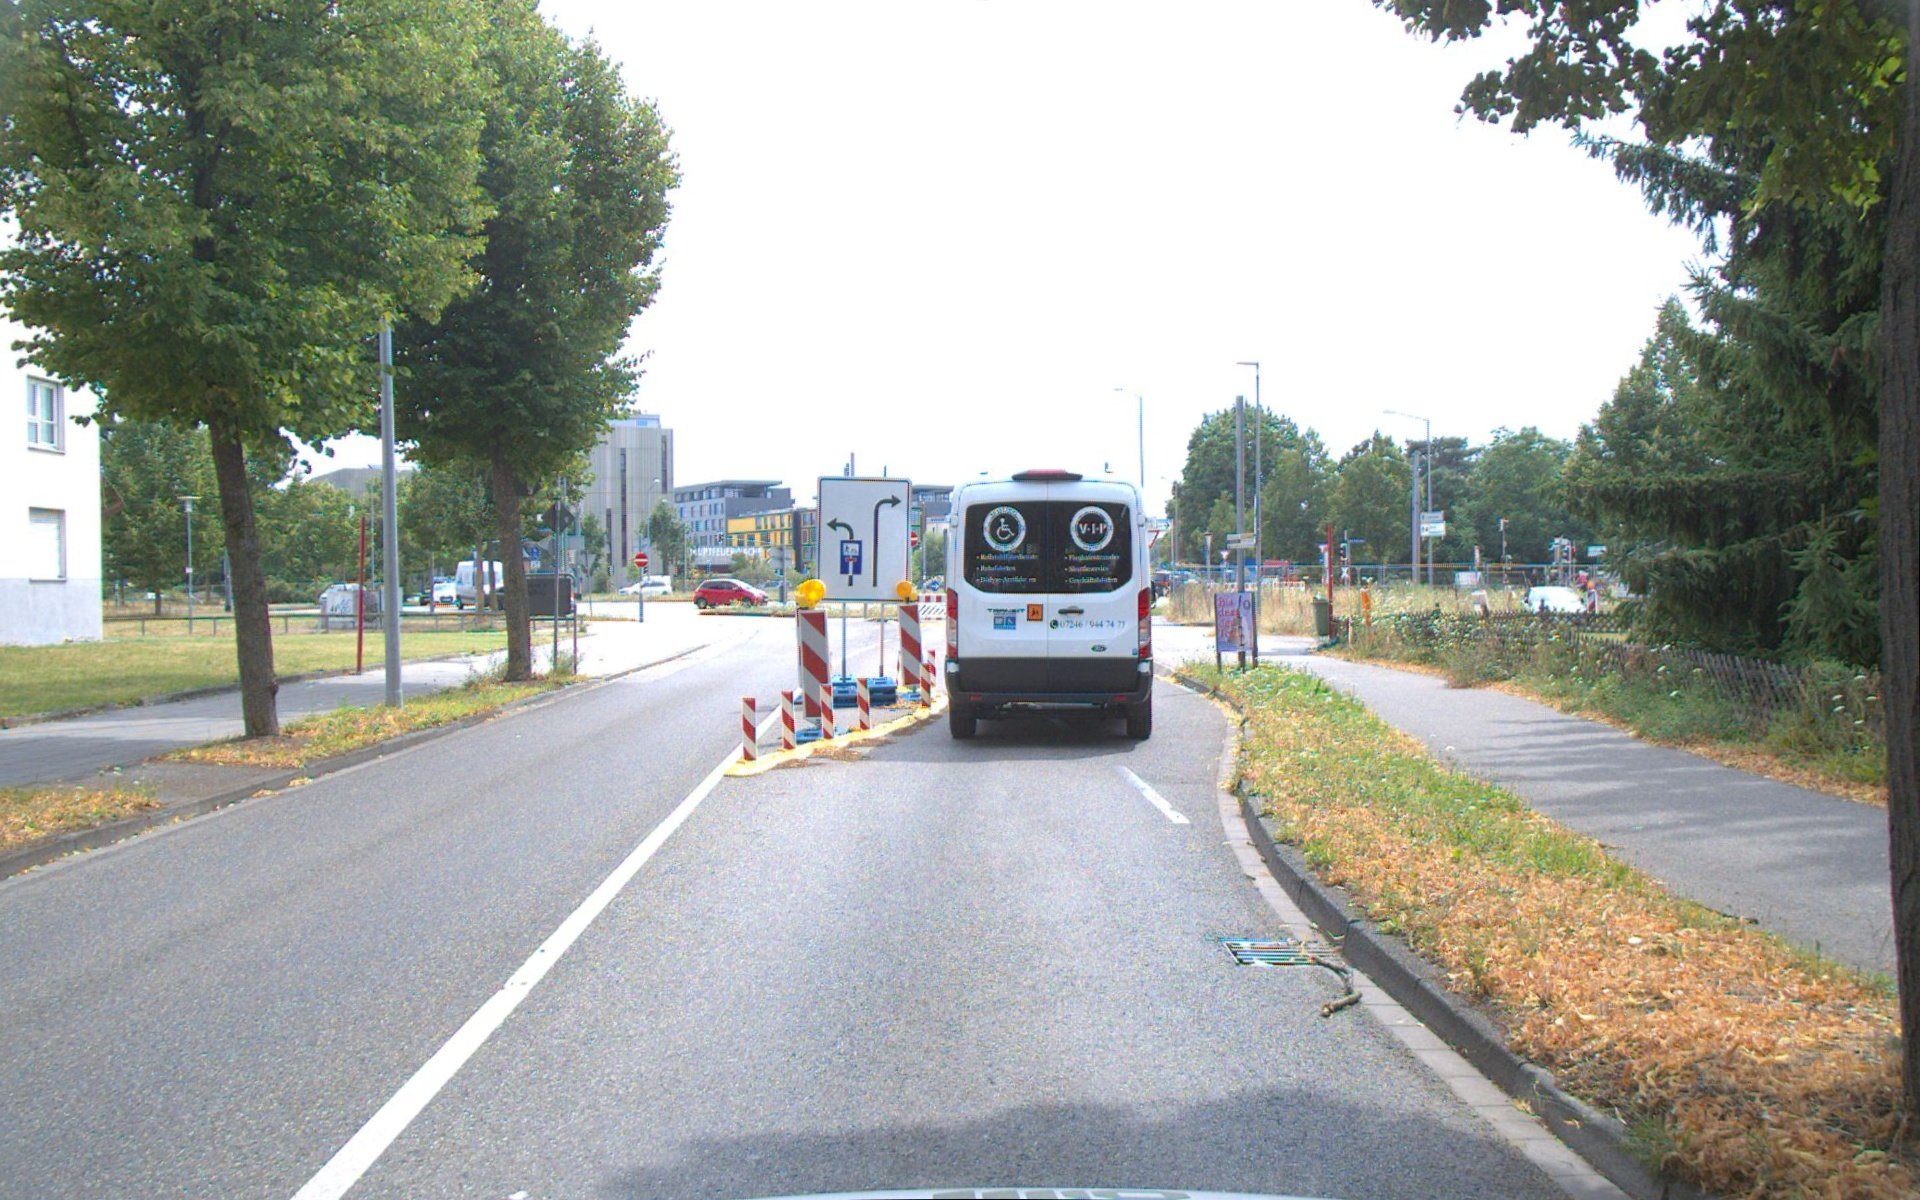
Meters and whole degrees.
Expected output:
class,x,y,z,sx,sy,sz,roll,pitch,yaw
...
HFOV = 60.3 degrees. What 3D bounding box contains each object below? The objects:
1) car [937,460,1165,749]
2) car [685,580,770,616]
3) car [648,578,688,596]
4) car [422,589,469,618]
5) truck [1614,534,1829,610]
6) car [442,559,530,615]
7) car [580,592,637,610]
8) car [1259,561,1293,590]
class,x,y,z,sx,sy,sz,roll,pitch,yaw
car,0.975,0.023,16.946,2.019,2.584,4.002,-1,1,4
car,-12.064,-0.118,85.937,3.902,1.691,1.893,-2,1,12
car,-30.676,-1.385,173.528,3.924,1.691,1.882,-3,1,-17
car,-31.941,0.223,102.596,1.866,1.691,3.957,-3,1,-31
truck,25.921,-0.914,56.542,6.526,2.468,2.533,0,0,23
car,-26.600,-0.720,92.716,2.596,2.900,5.592,-3,1,-40
car,-27.382,0.081,128.863,3.951,1.213,1.667,-3,1,-33
car,22.091,-1.738,115.518,1.964,1.848,4.416,-2,1,15
